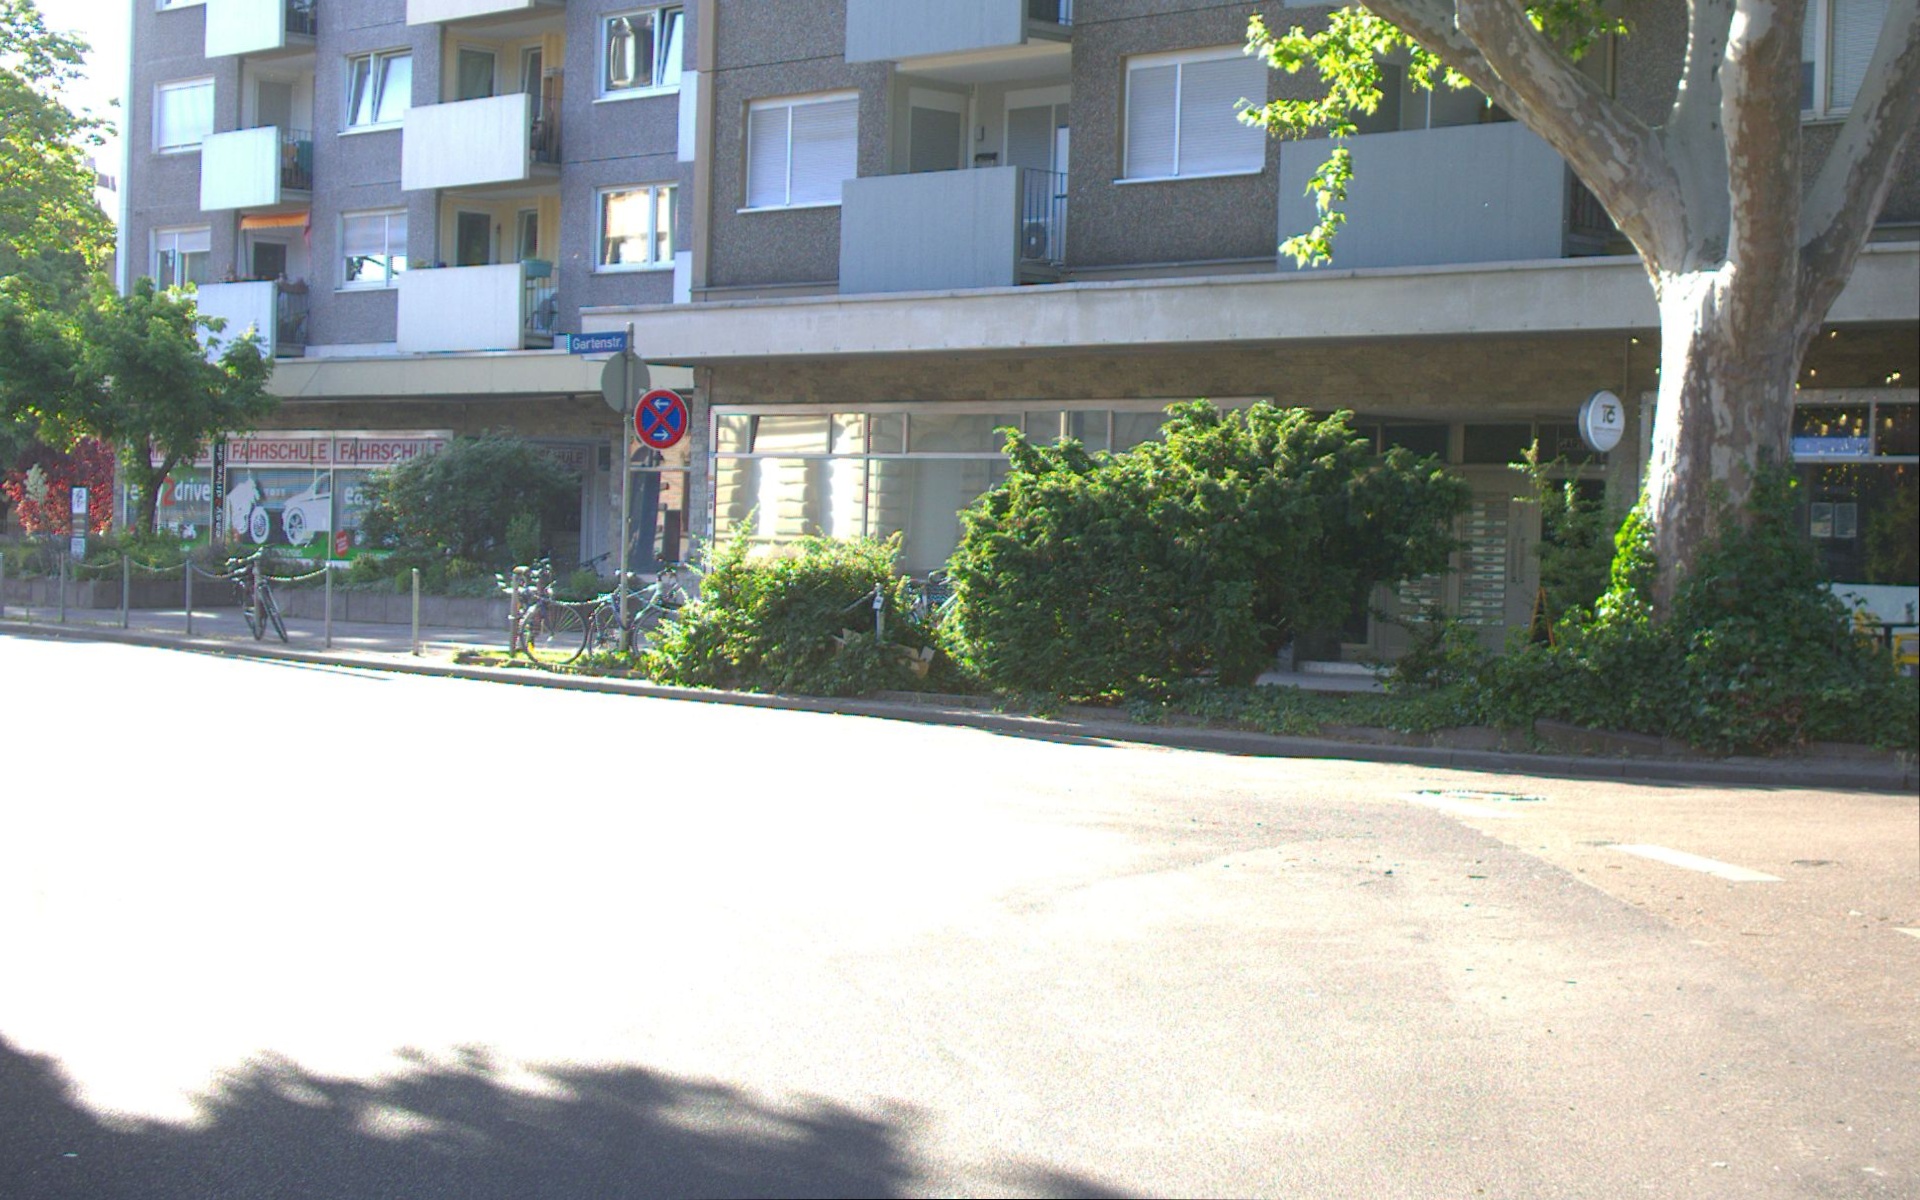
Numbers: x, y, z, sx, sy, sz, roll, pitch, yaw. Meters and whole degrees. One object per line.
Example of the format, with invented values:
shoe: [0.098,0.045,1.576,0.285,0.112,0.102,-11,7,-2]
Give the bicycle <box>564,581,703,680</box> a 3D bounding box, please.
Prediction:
bicycle: [-3.205,0.288,33.611,0.542,0.901,1.736,0,1,-35]

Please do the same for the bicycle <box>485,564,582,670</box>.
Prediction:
bicycle: [-4.413,0.164,35.453,0.638,1.019,2.089,1,1,-17]

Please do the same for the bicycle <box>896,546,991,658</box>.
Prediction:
bicycle: [-0.164,0.016,32.904,0.348,1.034,1.052,0,2,-36]

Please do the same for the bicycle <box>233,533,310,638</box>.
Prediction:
bicycle: [-8.377,-0.194,41.758,0.638,1.222,2.089,1,1,-19]
